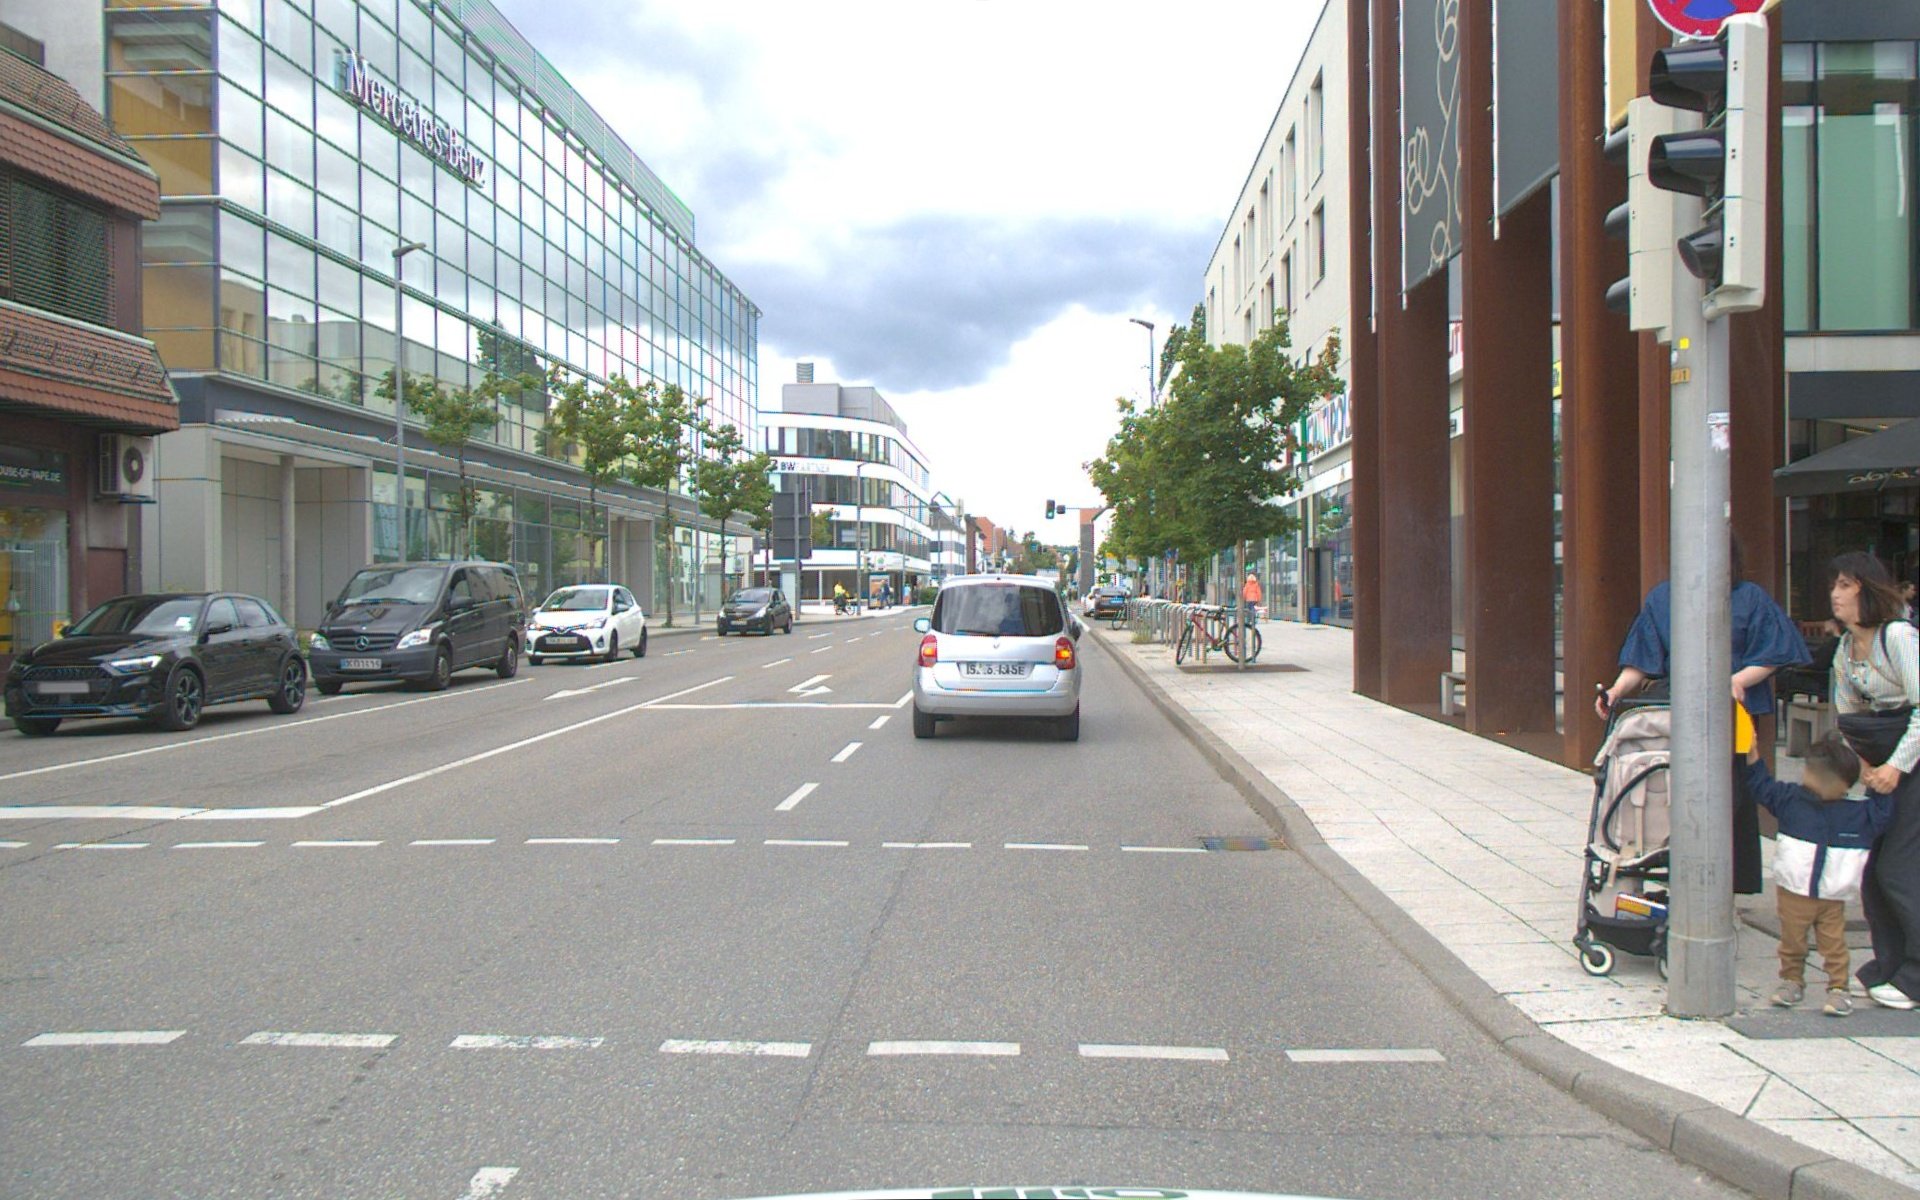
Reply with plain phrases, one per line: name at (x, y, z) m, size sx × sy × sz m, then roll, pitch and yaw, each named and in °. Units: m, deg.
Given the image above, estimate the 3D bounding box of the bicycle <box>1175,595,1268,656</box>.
bicycle at (4.447, 0.431, 28.218) m, size 1.527 × 1.009 × 0.753 m, roll 0°, pitch 1°, yaw 6°

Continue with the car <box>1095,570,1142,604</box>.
car at (6.892, -0.583, 72.220) m, size 1.838 × 1.358 × 4.002 m, roll 2°, pitch 1°, yaw 3°

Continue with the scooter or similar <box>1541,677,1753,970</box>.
scooter or similar at (2.612, 0.809, 6.277) m, size 0.622 × 0.978 × 0.618 m, roll 0°, pitch 1°, yaw 36°

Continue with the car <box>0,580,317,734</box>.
car at (-8.699, 0.535, 18.162) m, size 1.667 × 1.468 × 4.001 m, roll 0°, pitch 1°, yaw 1°

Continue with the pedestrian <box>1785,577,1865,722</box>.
pedestrian at (7.582, 0.418, 14.510) m, size 0.438 × 1.241 × 0.607 m, roll 0°, pitch 1°, yaw 7°

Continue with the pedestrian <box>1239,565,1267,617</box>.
pedestrian at (9.349, -0.291, 52.819) m, size 0.695 × 1.601 × 0.813 m, roll -3°, pitch 1°, yaw 3°

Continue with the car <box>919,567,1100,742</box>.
car at (0.482, 0.468, 17.164) m, size 1.635 × 1.581 × 3.643 m, roll 1°, pitch 1°, yaw 1°

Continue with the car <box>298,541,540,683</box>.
car at (-8.242, 0.120, 25.766) m, size 1.826 × 1.943 × 5.116 m, roll -1°, pitch 1°, yaw 3°

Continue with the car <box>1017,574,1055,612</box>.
car at (3.404, -0.323, 73.760) m, size 1.635 × 1.581 × 3.644 m, roll 2°, pitch 1°, yaw 3°

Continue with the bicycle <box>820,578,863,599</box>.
bicycle at (-6.308, -0.616, 87.741) m, size 0.995 × 1.036 × 3.099 m, roll 1°, pitch 1°, yaw -30°

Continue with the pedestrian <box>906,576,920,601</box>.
pedestrian at (-3.567, -0.892, 125.551) m, size 0.940 × 1.865 × 1.251 m, roll -1°, pitch 1°, yaw 3°

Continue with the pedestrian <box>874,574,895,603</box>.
pedestrian at (-4.910, -0.736, 107.450) m, size 1.222 × 1.865 × 0.963 m, roll -1°, pitch 1°, yaw -6°

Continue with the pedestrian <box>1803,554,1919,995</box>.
pedestrian at (3.328, 0.565, 5.683) m, size 0.588 × 1.444 × 0.583 m, roll 0°, pitch 1°, yaw 5°

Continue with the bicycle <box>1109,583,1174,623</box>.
bicycle at (5.271, 0.076, 48.171) m, size 1.787 × 1.093 × 0.752 m, roll -2°, pitch 1°, yaw 1°

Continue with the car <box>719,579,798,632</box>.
car at (-6.235, 0.131, 51.601) m, size 1.625 × 1.506 × 4.003 m, roll -1°, pitch 1°, yaw 5°

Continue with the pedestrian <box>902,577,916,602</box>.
pedestrian at (-3.929, -0.808, 127.973) m, size 0.940 × 1.865 × 1.251 m, roll -1°, pitch 1°, yaw 3°

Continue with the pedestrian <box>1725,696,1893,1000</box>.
pedestrian at (2.838, 0.813, 5.555) m, size 0.354 × 0.940 × 0.455 m, roll 0°, pitch 1°, yaw 5°

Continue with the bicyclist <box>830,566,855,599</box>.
bicyclist at (-6.236, -0.939, 87.631) m, size 0.995 × 1.689 × 0.923 m, roll 1°, pitch 0°, yaw -30°

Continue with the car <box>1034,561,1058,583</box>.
car at (8.087, -2.635, 155.564) m, size 2.125 × 2.048 × 4.260 m, roll -1°, pitch 1°, yaw 3°

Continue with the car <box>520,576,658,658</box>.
car at (-7.365, 0.291, 33.204) m, size 1.625 × 1.491 × 4.002 m, roll -1°, pitch 1°, yaw 3°

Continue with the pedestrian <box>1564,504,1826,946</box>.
pedestrian at (3.017, 0.463, 6.791) m, size 0.855 × 1.675 × 0.677 m, roll 1°, pitch 1°, yaw 37°

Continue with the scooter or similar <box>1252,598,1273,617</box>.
scooter or similar at (9.496, 0.224, 51.985) m, size 0.538 × 0.555 × 0.643 m, roll -4°, pitch 1°, yaw 3°

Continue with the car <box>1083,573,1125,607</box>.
car at (6.848, -0.488, 78.824) m, size 1.838 × 1.535 × 4.002 m, roll 2°, pitch 1°, yaw 3°
